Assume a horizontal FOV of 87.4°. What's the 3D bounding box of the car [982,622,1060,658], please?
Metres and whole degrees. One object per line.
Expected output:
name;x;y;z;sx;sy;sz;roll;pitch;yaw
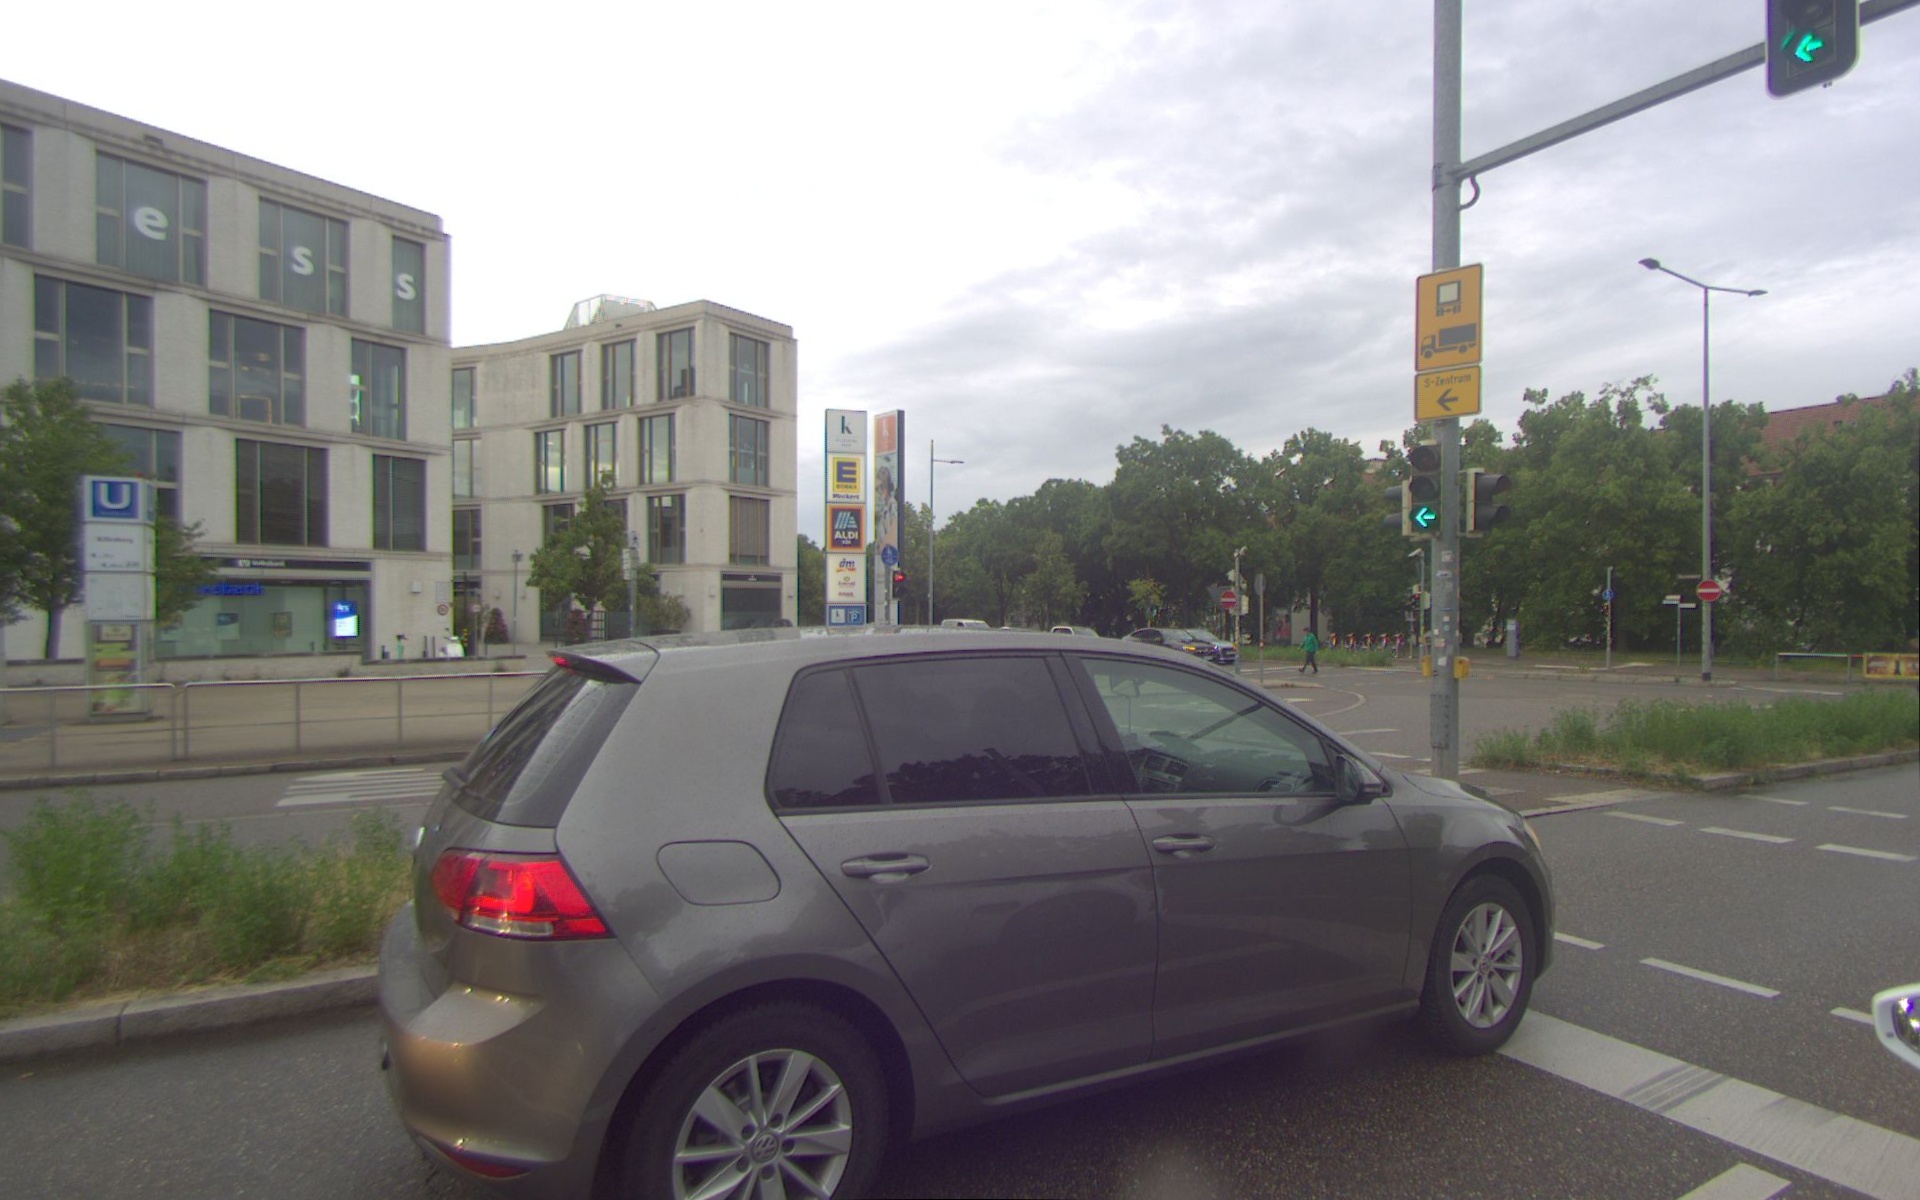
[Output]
car;3.020;2.011;50.724;1.976;1.615;4.185;2;0;-29

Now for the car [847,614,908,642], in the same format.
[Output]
car;-5.476;1.833;66.104;1.977;1.615;4.852;2;0;-31

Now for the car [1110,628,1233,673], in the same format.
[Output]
car;8.373;1.977;40.229;1.976;1.520;5.001;2;0;-29

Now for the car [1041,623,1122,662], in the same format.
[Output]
car;5.535;1.922;46.016;1.976;1.615;3.536;2;0;-30

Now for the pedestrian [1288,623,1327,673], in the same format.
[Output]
pedestrian;12.364;1.703;35.751;0.932;1.750;0.921;2;0;-21

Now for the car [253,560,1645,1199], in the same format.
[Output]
car;0.290;0.750;3.498;4.325;1.501;1.807;2;-1;-30

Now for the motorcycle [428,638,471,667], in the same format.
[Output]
motorcycle;-14.208;1.449;27.957;1.081;0.750;0.522;2;0;29

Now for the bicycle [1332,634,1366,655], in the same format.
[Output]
bicycle;20.918;2.408;54.021;1.959;1.085;0.649;2;0;-30

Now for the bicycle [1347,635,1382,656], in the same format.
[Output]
bicycle;21.351;2.397;53.021;1.959;1.085;0.649;2;0;-30

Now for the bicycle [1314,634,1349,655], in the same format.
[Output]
bicycle;20.248;2.422;54.751;1.959;1.085;0.649;2;0;-30

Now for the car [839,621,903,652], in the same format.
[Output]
car;-5.348;2.126;59.689;1.976;1.615;4.855;2;0;-29

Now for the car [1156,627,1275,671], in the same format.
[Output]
car;10.659;2.009;42.290;1.976;1.568;5.001;2;0;-29

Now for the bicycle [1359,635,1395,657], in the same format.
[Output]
bicycle;21.653;2.379;52.160;1.959;1.085;0.649;2;0;-30

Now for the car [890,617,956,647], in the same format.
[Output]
car;-2.275;1.902;60.384;1.976;1.615;4.855;2;0;-29

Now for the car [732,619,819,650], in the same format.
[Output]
car;-9.207;1.728;50.310;1.968;1.483;3.985;0;-2;37

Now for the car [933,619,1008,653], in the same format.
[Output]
car;0.512;1.960;55.395;1.976;1.615;4.855;2;0;-29

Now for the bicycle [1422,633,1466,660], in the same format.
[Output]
bicycle;23.739;2.290;49.248;1.959;1.266;0.986;2;0;-30

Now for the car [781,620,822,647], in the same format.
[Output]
car;-12.756;2.685;80.663;1.976;2.040;3.969;1;-1;-29

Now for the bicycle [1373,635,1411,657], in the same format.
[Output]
bicycle;22.223;2.380;51.636;1.959;1.085;0.798;2;0;-30
